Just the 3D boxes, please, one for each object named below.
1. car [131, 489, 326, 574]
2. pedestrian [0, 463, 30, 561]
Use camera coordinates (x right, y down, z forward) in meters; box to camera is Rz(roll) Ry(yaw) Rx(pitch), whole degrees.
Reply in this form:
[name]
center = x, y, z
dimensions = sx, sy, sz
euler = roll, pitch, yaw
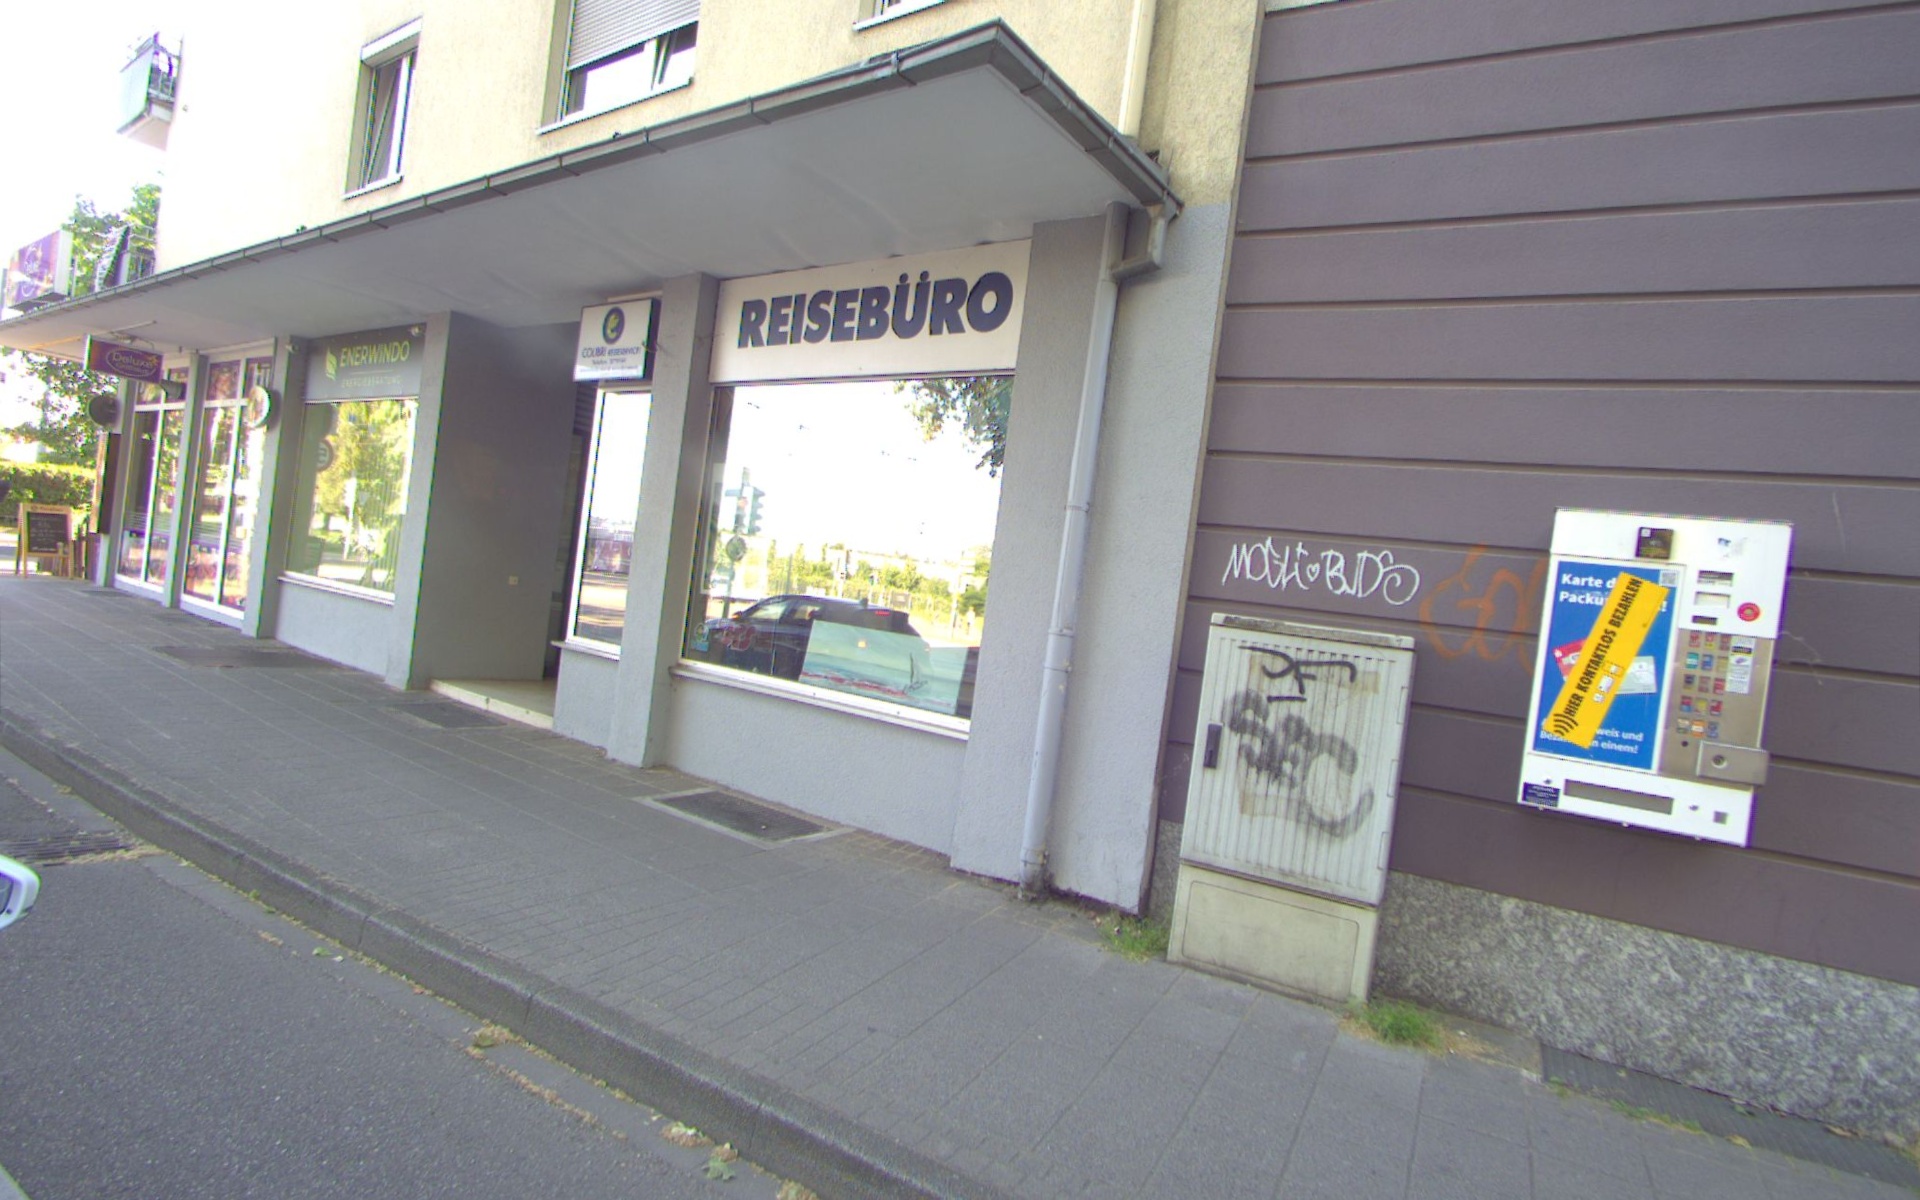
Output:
[car]
center = -21.064, -1.907, 29.108
dimensions = 1.781, 1.835, 4.172
euler = 4, -3, 40
[pedestrian]
center = -18.896, -1.739, 19.646
dimensions = 0.695, 1.869, 0.698
euler = 7, 1, -19
